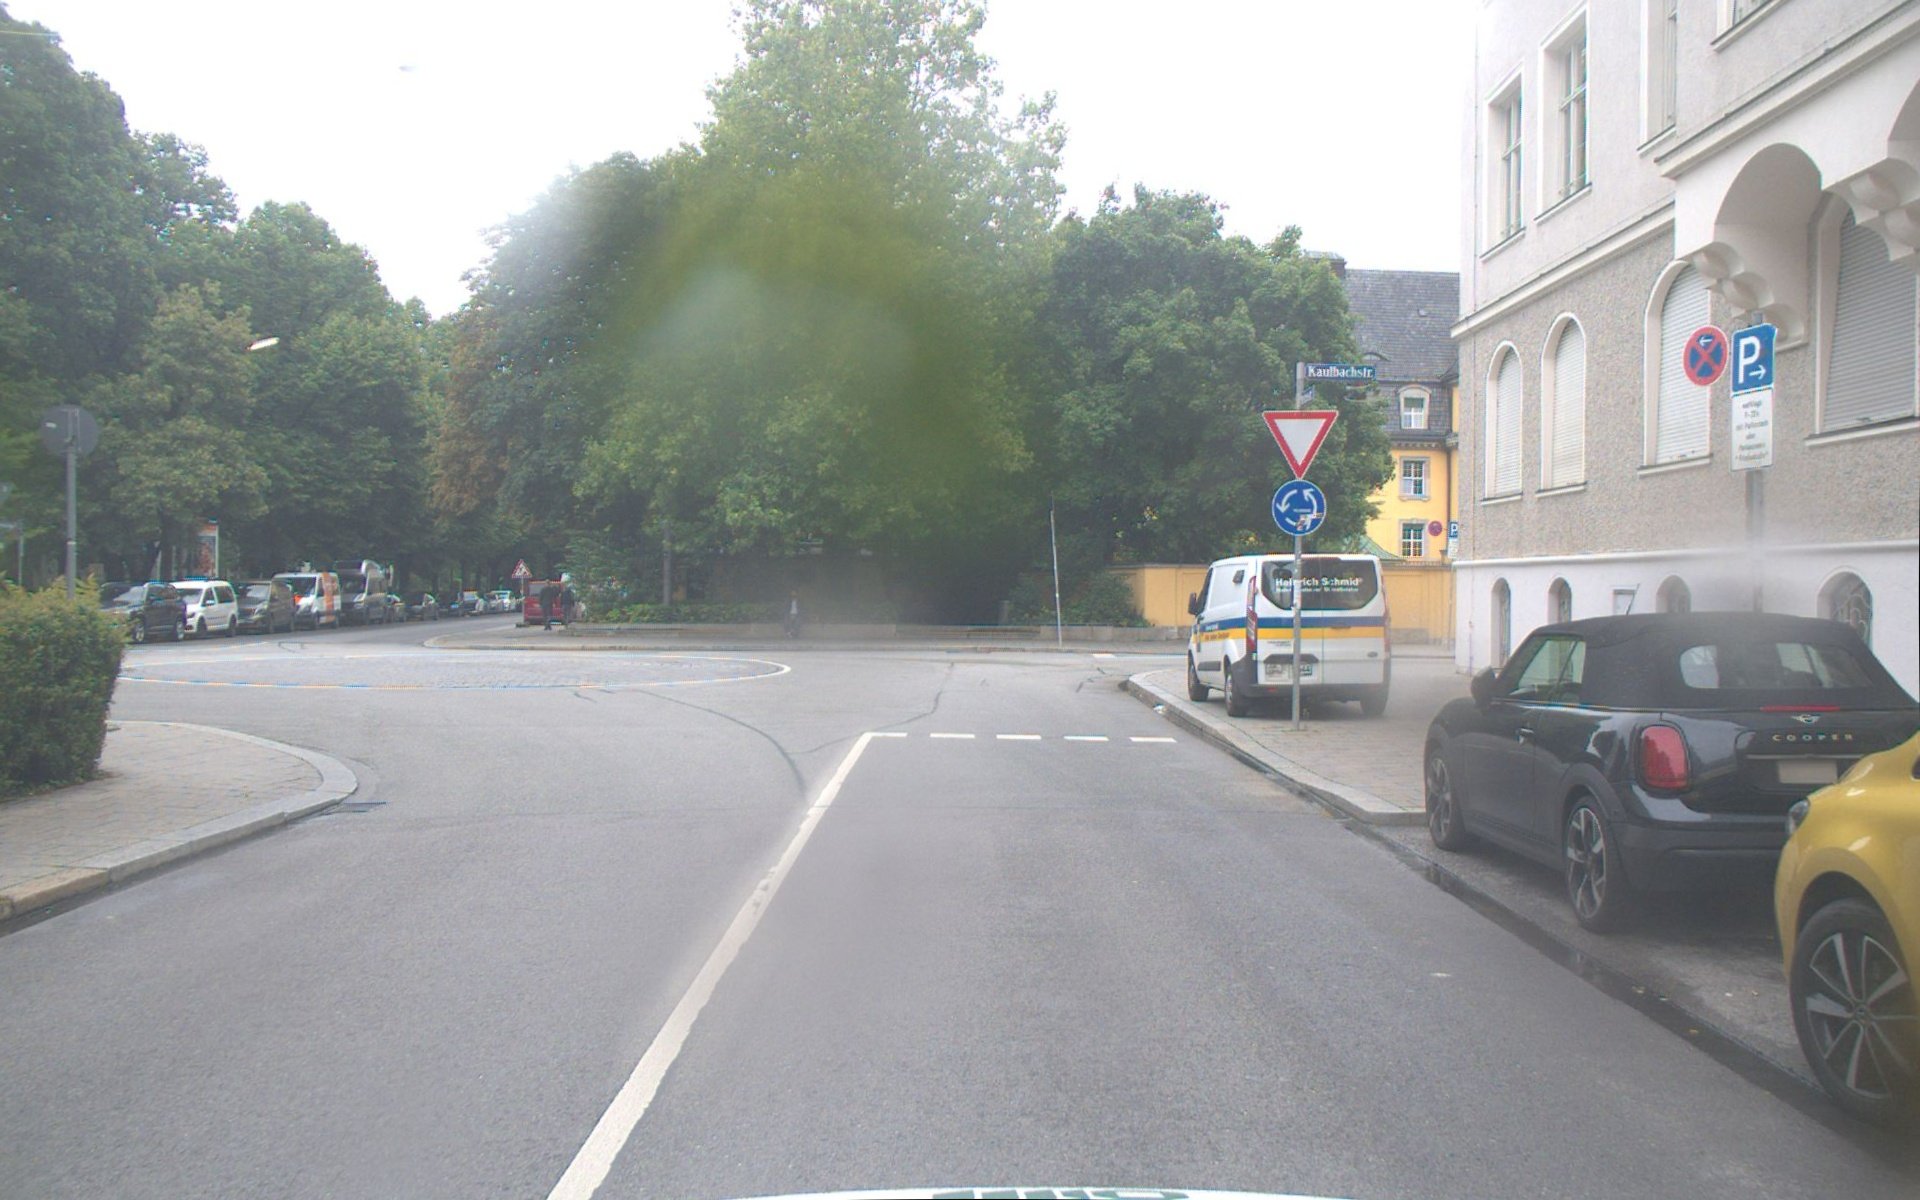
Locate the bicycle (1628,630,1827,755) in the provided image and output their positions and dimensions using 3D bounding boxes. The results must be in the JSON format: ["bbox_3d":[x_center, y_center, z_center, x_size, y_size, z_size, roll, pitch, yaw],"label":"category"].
[{"bbox_3d":[8.198,0.946,17.840,0.821,1.132,2.757,-3,0,0],"label":"bicycle"}]

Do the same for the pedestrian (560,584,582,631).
[{"bbox_3d":[-14.179,0.265,60.303,0.626,1.696,0.690,0,0,-30],"label":"pedestrian"}]

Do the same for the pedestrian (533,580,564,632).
[{"bbox_3d":[-15.072,0.209,60.600,0.813,1.868,0.940,0,0,-35],"label":"pedestrian"}]

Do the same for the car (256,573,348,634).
[{"bbox_3d":[-26.418,0.122,66.566,2.044,2.304,5.593,-2,0,-7],"label":"car"}]

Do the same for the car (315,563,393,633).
[{"bbox_3d":[-27.541,-0.111,75.375,2.132,3.055,6.221,0,0,-9],"label":"car"}]

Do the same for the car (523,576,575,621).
[{"bbox_3d":[-18.362,-0.066,74.041,1.876,1.971,4.957,0,0,-10],"label":"car"}]

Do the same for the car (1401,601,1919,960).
[{"bbox_3d":[3.692,0.752,8.808,1.677,1.470,3.827,0,0,0],"label":"car"}]

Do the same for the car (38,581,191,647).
[{"bbox_3d":[-23.979,0.364,47.136,2.043,1.749,5.299,0,0,-5],"label":"car"}]

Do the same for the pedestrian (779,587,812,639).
[{"bbox_3d":[-4.440,0.348,44.634,0.753,1.380,1.132,0,0,1],"label":"pedestrian"}]

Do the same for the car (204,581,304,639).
[{"bbox_3d":[-25.341,0.322,59.581,1.989,1.941,5.655,-1,0,-9],"label":"car"}]

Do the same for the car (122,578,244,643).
[{"bbox_3d":[-24.538,0.308,52.404,2.044,1.937,4.851,0,0,-7],"label":"car"}]

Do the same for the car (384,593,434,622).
[{"bbox_3d":[-28.896,0.376,86.874,1.958,1.445,4.118,0,0,-11],"label":"car"}]

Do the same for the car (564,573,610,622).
[{"bbox_3d":[-20.205,-0.154,89.875,1.956,2.603,5.421,0,0,-8],"label":"car"}]

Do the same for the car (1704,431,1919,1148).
[{"bbox_3d":[3.562,0.522,3.607,1.952,1.952,4.572,0,0,2],"label":"car"}]

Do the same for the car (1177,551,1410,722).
[{"bbox_3d":[4.209,0.397,21.804,1.899,1.955,5.373,-1,0,-1],"label":"car"}]

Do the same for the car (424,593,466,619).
[{"bbox_3d":[-31.132,0.358,100.009,1.958,1.513,4.118,0,0,-11],"label":"car"}]
